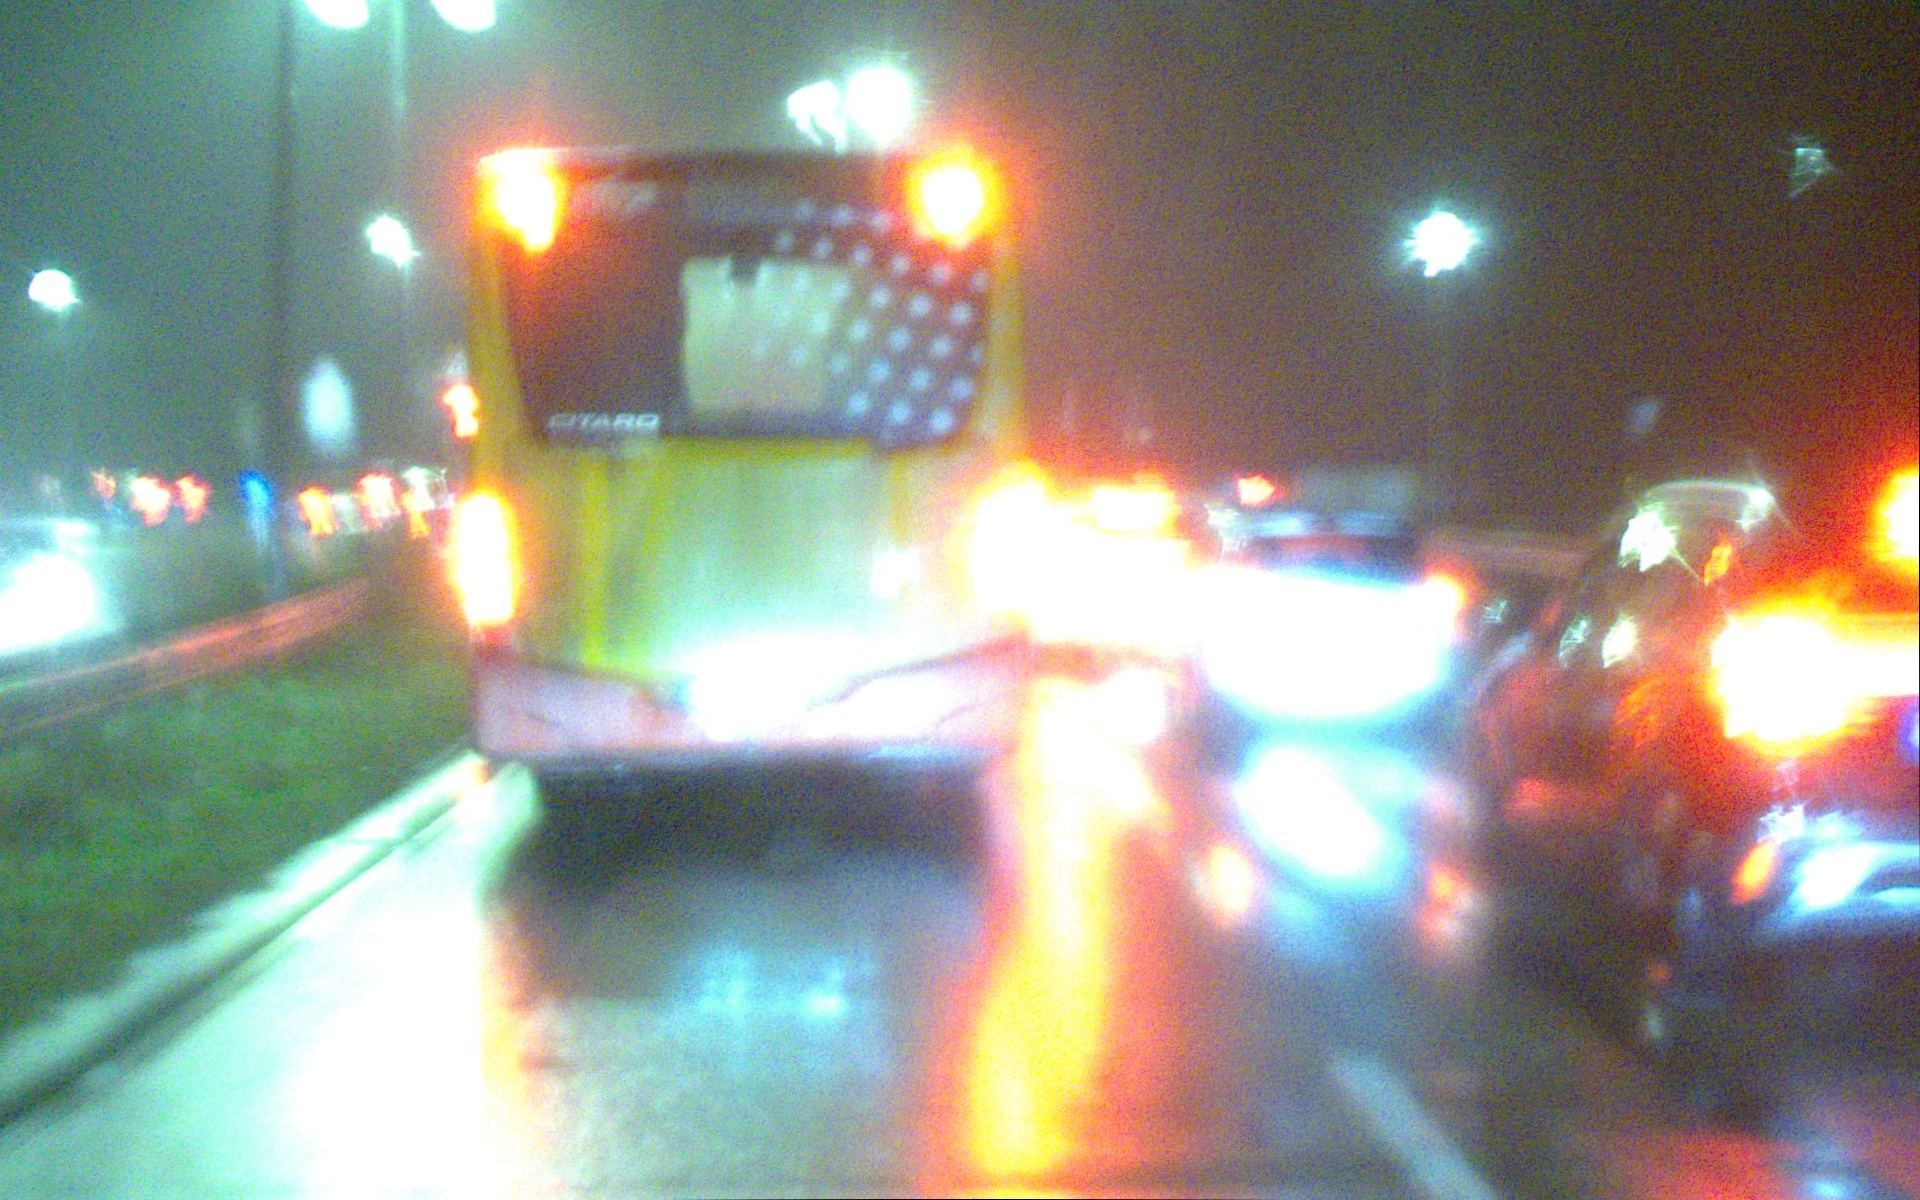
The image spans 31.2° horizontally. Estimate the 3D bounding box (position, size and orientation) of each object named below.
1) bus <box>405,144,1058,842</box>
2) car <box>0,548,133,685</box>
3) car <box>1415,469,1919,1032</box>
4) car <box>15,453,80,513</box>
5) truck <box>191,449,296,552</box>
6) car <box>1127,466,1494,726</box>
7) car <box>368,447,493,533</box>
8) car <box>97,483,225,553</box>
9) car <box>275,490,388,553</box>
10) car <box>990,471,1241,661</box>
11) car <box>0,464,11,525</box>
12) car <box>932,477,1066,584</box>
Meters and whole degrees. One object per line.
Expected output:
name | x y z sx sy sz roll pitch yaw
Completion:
bus | -1.198 -0.574 19.237 2.815 3.013 8.689 0 2 -3
car | -10.970 0.189 40.180 1.816 1.389 4.462 -4 2 -5
car | 2.772 0.372 11.465 1.739 1.559 3.777 0 2 -4
car | -31.995 -4.081 120.613 2.120 2.007 4.001 1 1 -14
truck | -18.516 -2.597 88.702 1.855 2.384 4.781 -3 5 -21
car | 2.278 -0.079 23.295 1.819 1.585 3.777 -1 2 -4
car | -12.944 -2.662 83.918 1.993 2.007 4.001 0 1 -24
car | -23.641 -2.411 101.658 2.212 2.006 3.999 -2 2 -37
car | -16.767 -2.104 91.670 1.751 1.625 3.623 0 1 -32
car | 1.342 -0.345 31.145 1.819 1.585 3.777 -1 2 -4
car | -33.443 -3.524 114.604 1.994 2.007 3.999 0 1 -39
car | 0.549 -1.068 51.930 1.779 1.538 3.875 0 2 -3
